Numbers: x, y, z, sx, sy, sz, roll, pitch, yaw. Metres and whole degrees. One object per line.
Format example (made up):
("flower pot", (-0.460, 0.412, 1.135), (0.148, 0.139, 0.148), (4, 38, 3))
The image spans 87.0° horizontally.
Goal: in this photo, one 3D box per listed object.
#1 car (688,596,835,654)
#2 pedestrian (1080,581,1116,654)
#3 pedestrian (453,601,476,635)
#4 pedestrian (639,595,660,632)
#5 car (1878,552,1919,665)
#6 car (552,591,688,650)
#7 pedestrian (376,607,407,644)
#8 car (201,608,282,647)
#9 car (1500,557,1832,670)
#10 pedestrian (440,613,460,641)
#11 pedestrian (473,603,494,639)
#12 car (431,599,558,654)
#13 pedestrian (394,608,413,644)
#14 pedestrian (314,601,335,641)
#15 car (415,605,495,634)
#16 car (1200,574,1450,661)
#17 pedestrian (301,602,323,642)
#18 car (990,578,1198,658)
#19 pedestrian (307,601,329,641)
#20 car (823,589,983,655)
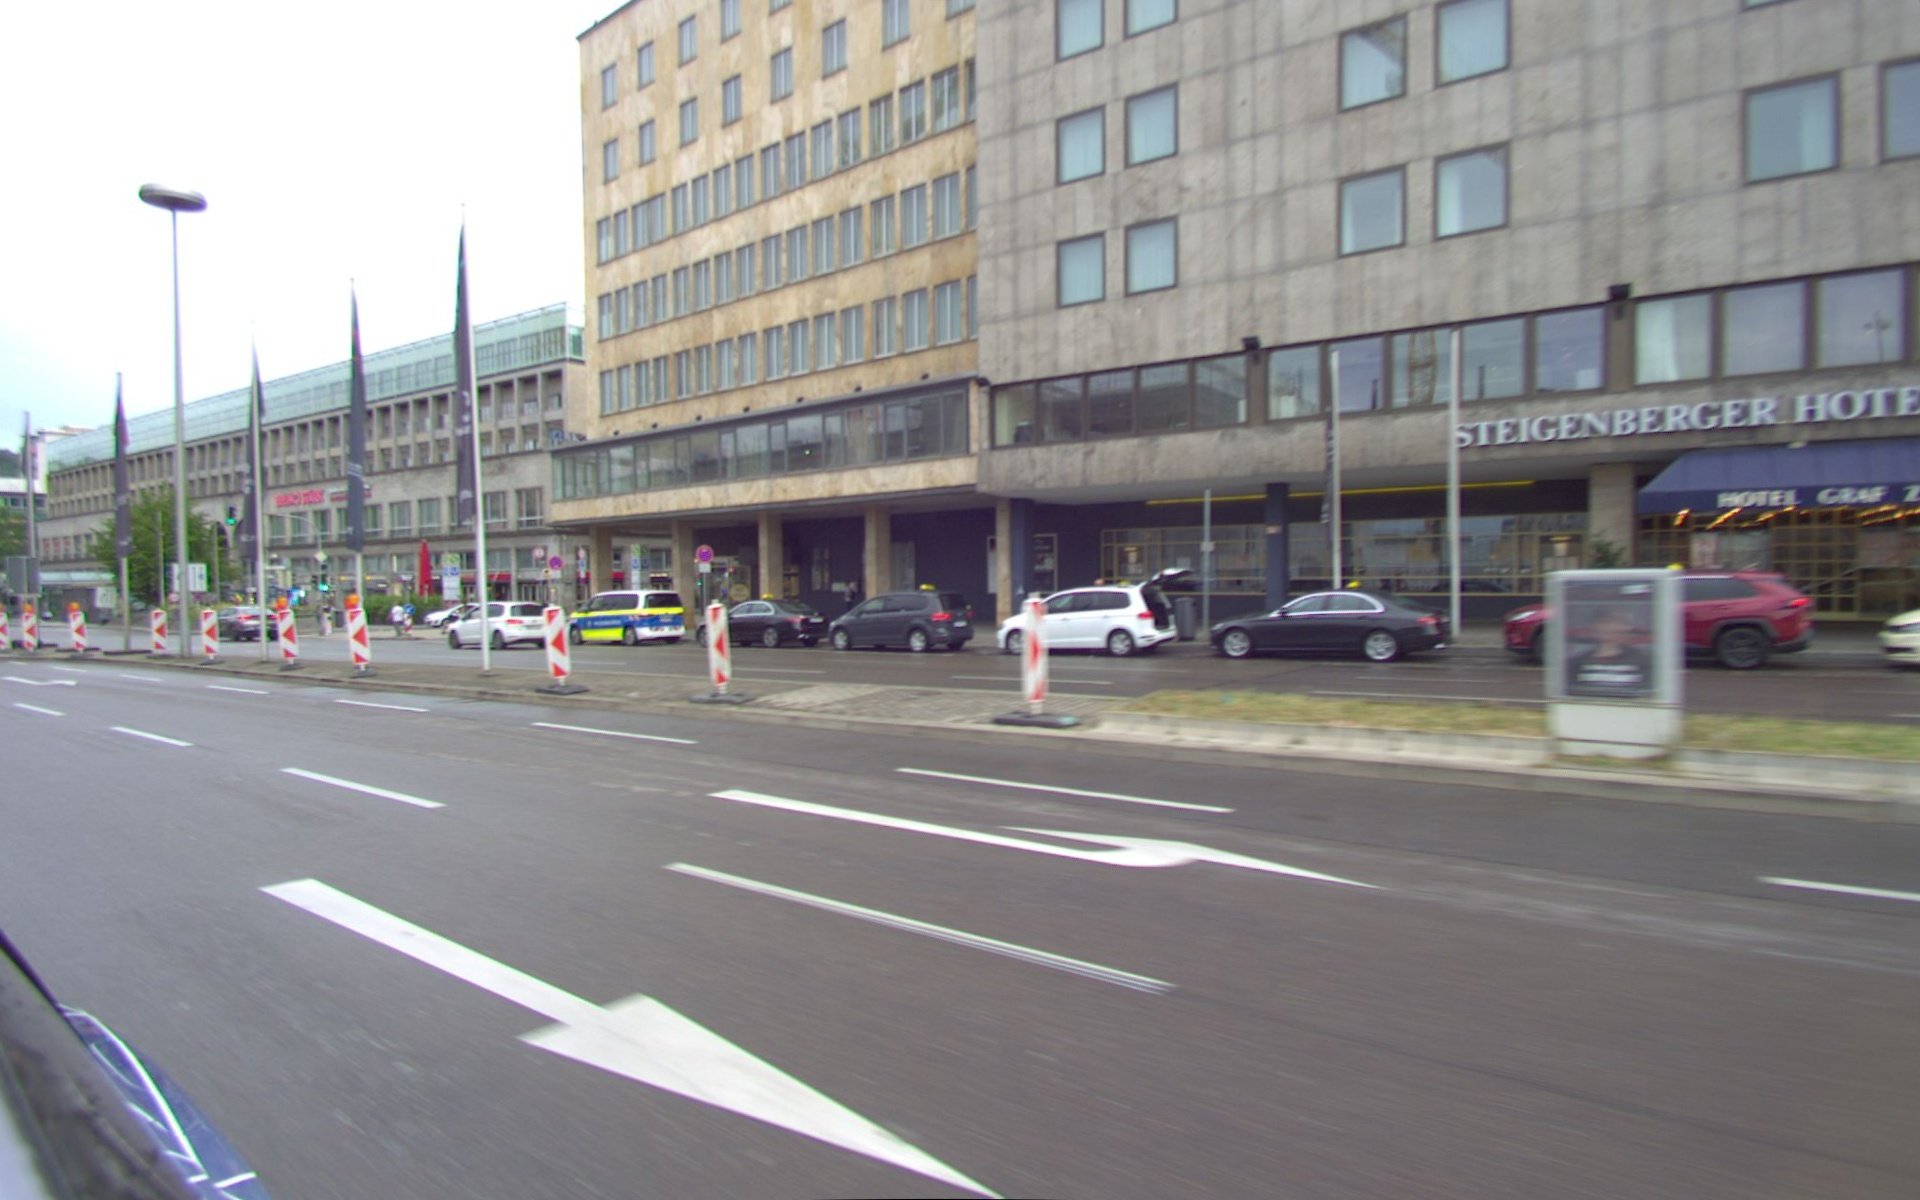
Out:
("car", (-6.123, 0.747, 31.067), (4.553, 1.633, 1.739), (-1, 0, 35))
("pedestrian", (3.490, 0.423, 25.594), (0.657, 1.794, 0.616), (0, 2, 36))
("pedestrian", (-23.596, 0.836, 48.201), (0.676, 1.604, 0.662), (-1, 0, 19))
("pedestrian", (-16.066, 0.718, 52.356), (0.771, 1.889, 0.708), (-1, 0, 40))
("car", (16.715, 0.084, 14.853), (4.568, 1.711, 1.800), (-1, 0, 35))
("car", (-12.016, 0.735, 35.614), (5.062, 1.943, 1.884), (-2, -1, 35))
("pedestrian", (-26.012, 1.162, 46.303), (0.785, 1.630, 0.833), (-1, 3, 25))
("car", (-32.890, 1.251, 46.290), (4.492, 1.682, 1.758), (-1, -1, 37))
("car", (12.386, 0.223, 18.040), (4.639, 1.781, 1.884), (-1, 0, 37))
("pedestrian", (-24.283, 1.275, 48.184), (0.751, 1.301, 0.558), (-1, 0, 33))
("pedestrian", (-22.727, 0.993, 48.285), (0.751, 1.681, 0.558), (-1, 0, 33))
("car", (-15.581, 0.870, 33.810), (4.489, 1.681, 1.808), (-1, 0, 35))
("pedestrian", (-25.844, 1.195, 46.968), (0.524, 1.630, 0.448), (-1, 3, 24))
("pedestrian", (-31.296, 1.049, 49.835), (0.750, 1.939, 0.584), (-1, 0, 35))
("car", (-31.212, 1.177, 62.675), (1.804, 1.652, 4.040), (-1, 0, 40))
("car", (7.625, 0.358, 21.344), (4.606, 1.672, 1.886), (-1, 0, 35))
("pedestrian", (-32.200, 1.092, 50.300), (0.705, 1.939, 0.593), (-1, 0, -14))
("car", (3.164, 0.415, 24.431), (4.699, 1.771, 1.739), (-1, 0, 35))
("pedestrian", (-32.800, 1.078, 51.701), (0.805, 2.029, 0.697), (-1, 0, 35))
("car", (-1.609, 0.595, 27.785), (4.221, 1.694, 1.738), (-2, 0, 36))
